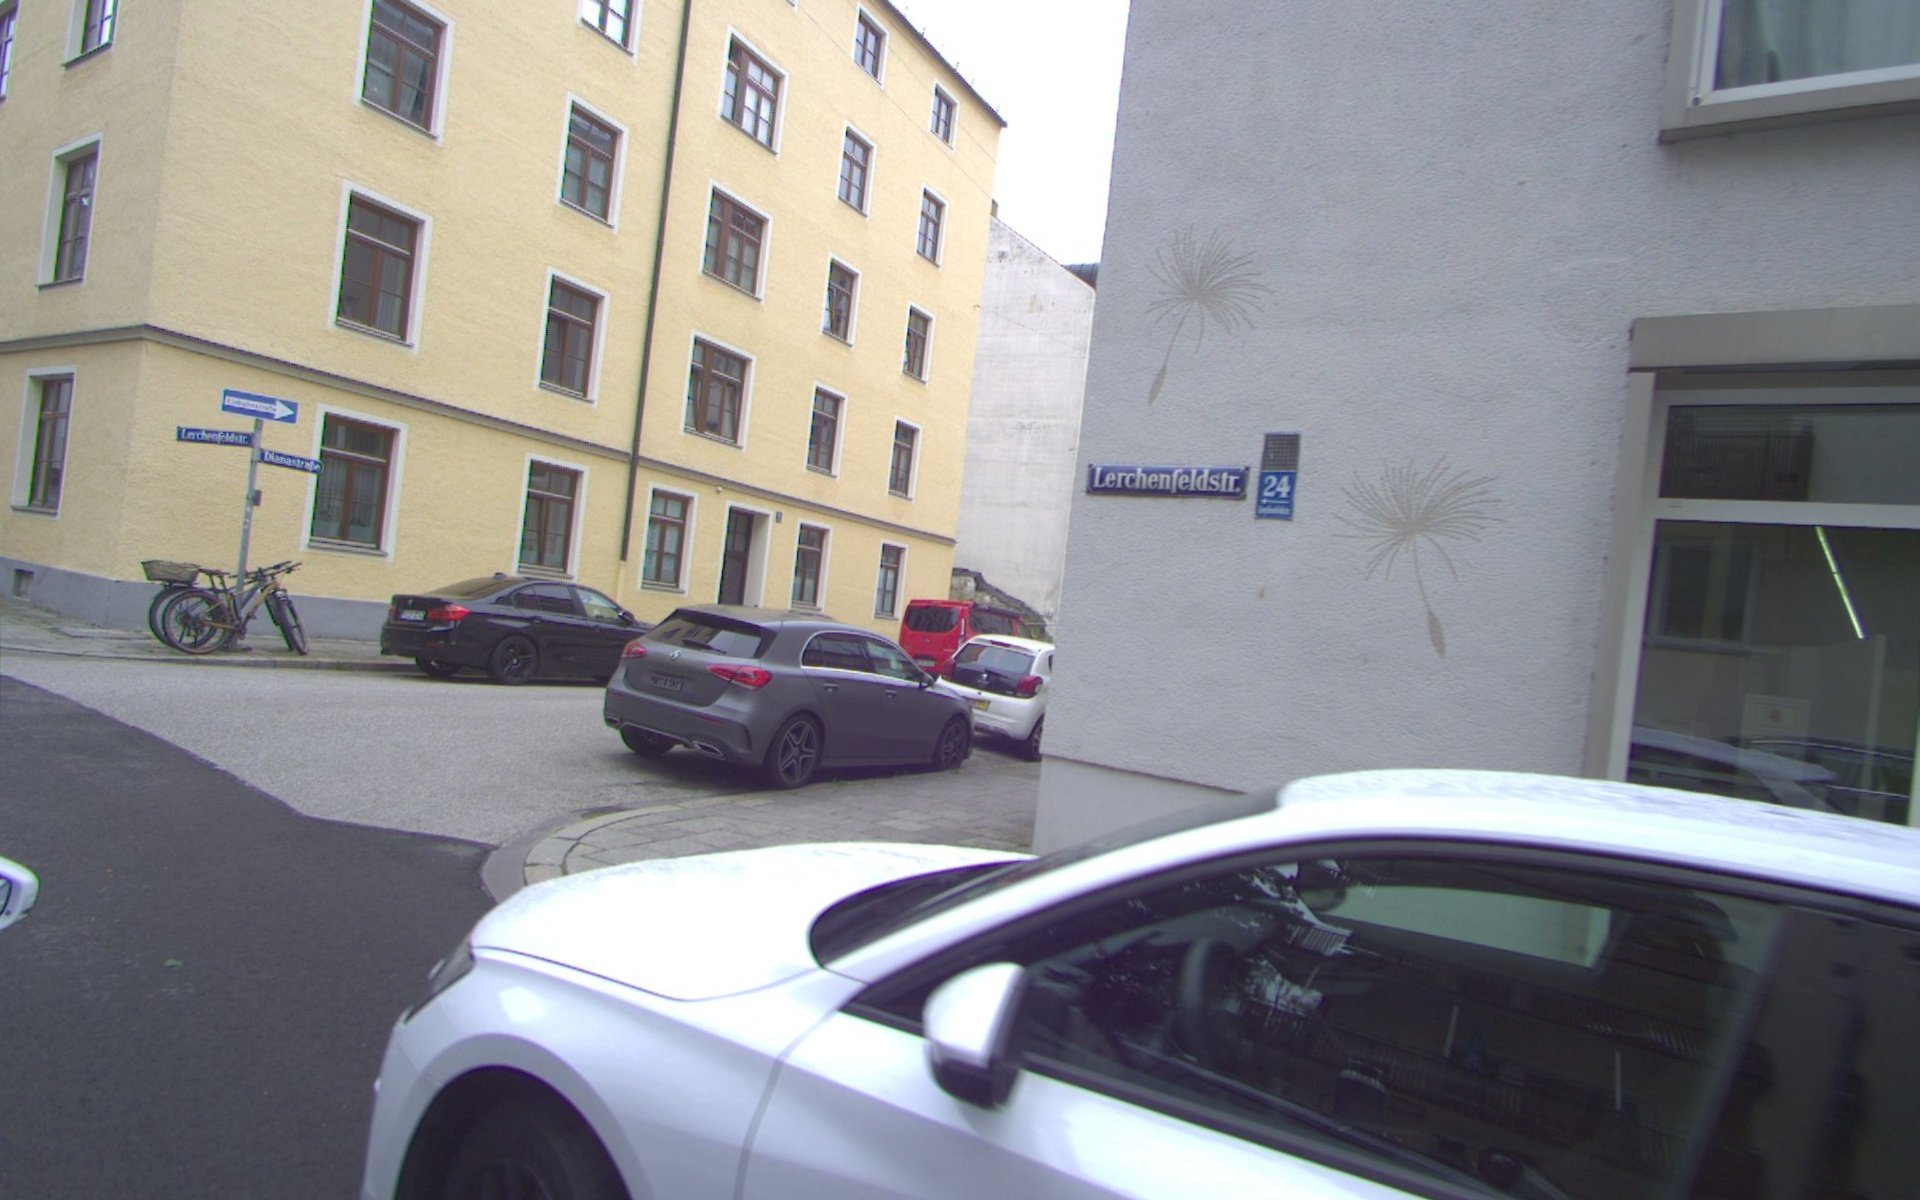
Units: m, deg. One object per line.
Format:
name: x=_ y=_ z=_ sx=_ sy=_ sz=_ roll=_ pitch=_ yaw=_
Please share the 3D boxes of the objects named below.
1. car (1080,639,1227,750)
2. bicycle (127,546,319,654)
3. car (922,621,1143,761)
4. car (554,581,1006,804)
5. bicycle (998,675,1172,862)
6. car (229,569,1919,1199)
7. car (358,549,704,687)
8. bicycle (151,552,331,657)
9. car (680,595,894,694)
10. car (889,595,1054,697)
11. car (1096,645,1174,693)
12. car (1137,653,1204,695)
car: x=3.534 y=1.630 z=17.899 sx=1.538 sy=1.545 sz=3.673 roll=8 pitch=0 yaw=25
bicycle: x=-9.203 y=0.034 z=12.641 sx=0.497 sy=1.189 sz=1.810 roll=9 pitch=1 yaw=30
car: x=1.121 y=1.257 z=14.071 sx=1.540 sy=1.453 sz=3.350 roll=12 pitch=1 yaw=31
car: x=-1.431 y=0.836 z=9.717 sx=1.965 sy=1.416 sz=4.213 roll=9 pitch=0 yaw=29
bicycle: x=0.958 y=1.164 z=7.255 sx=0.457 sy=1.128 sz=1.801 roll=6 pitch=-2 yaw=31
car: x=0.686 y=0.921 z=1.820 sx=3.886 sy=1.424 sz=1.823 roll=6 pitch=-2 yaw=32
car: x=-5.784 y=0.348 z=14.146 sx=1.683 sy=1.511 sz=4.221 roll=5 pitch=-2 yaw=30
bicycle: x=-8.780 y=0.088 z=12.362 sx=0.367 sy=1.153 sz=1.715 roll=9 pitch=1 yaw=31
car: x=-3.113 y=0.896 z=18.925 sx=1.684 sy=1.510 sz=3.981 roll=4 pitch=-3 yaw=31
car: x=0.409 y=1.184 z=24.310 sx=1.877 sy=2.075 sz=4.551 roll=4 pitch=-3 yaw=30
car: x=6.600 y=2.616 z=37.689 sx=1.732 sy=1.505 sz=4.037 roll=4 pitch=-3 yaw=26
car: x=8.888 y=3.131 z=42.148 sx=1.732 sy=1.505 sz=4.037 roll=4 pitch=-3 yaw=26
